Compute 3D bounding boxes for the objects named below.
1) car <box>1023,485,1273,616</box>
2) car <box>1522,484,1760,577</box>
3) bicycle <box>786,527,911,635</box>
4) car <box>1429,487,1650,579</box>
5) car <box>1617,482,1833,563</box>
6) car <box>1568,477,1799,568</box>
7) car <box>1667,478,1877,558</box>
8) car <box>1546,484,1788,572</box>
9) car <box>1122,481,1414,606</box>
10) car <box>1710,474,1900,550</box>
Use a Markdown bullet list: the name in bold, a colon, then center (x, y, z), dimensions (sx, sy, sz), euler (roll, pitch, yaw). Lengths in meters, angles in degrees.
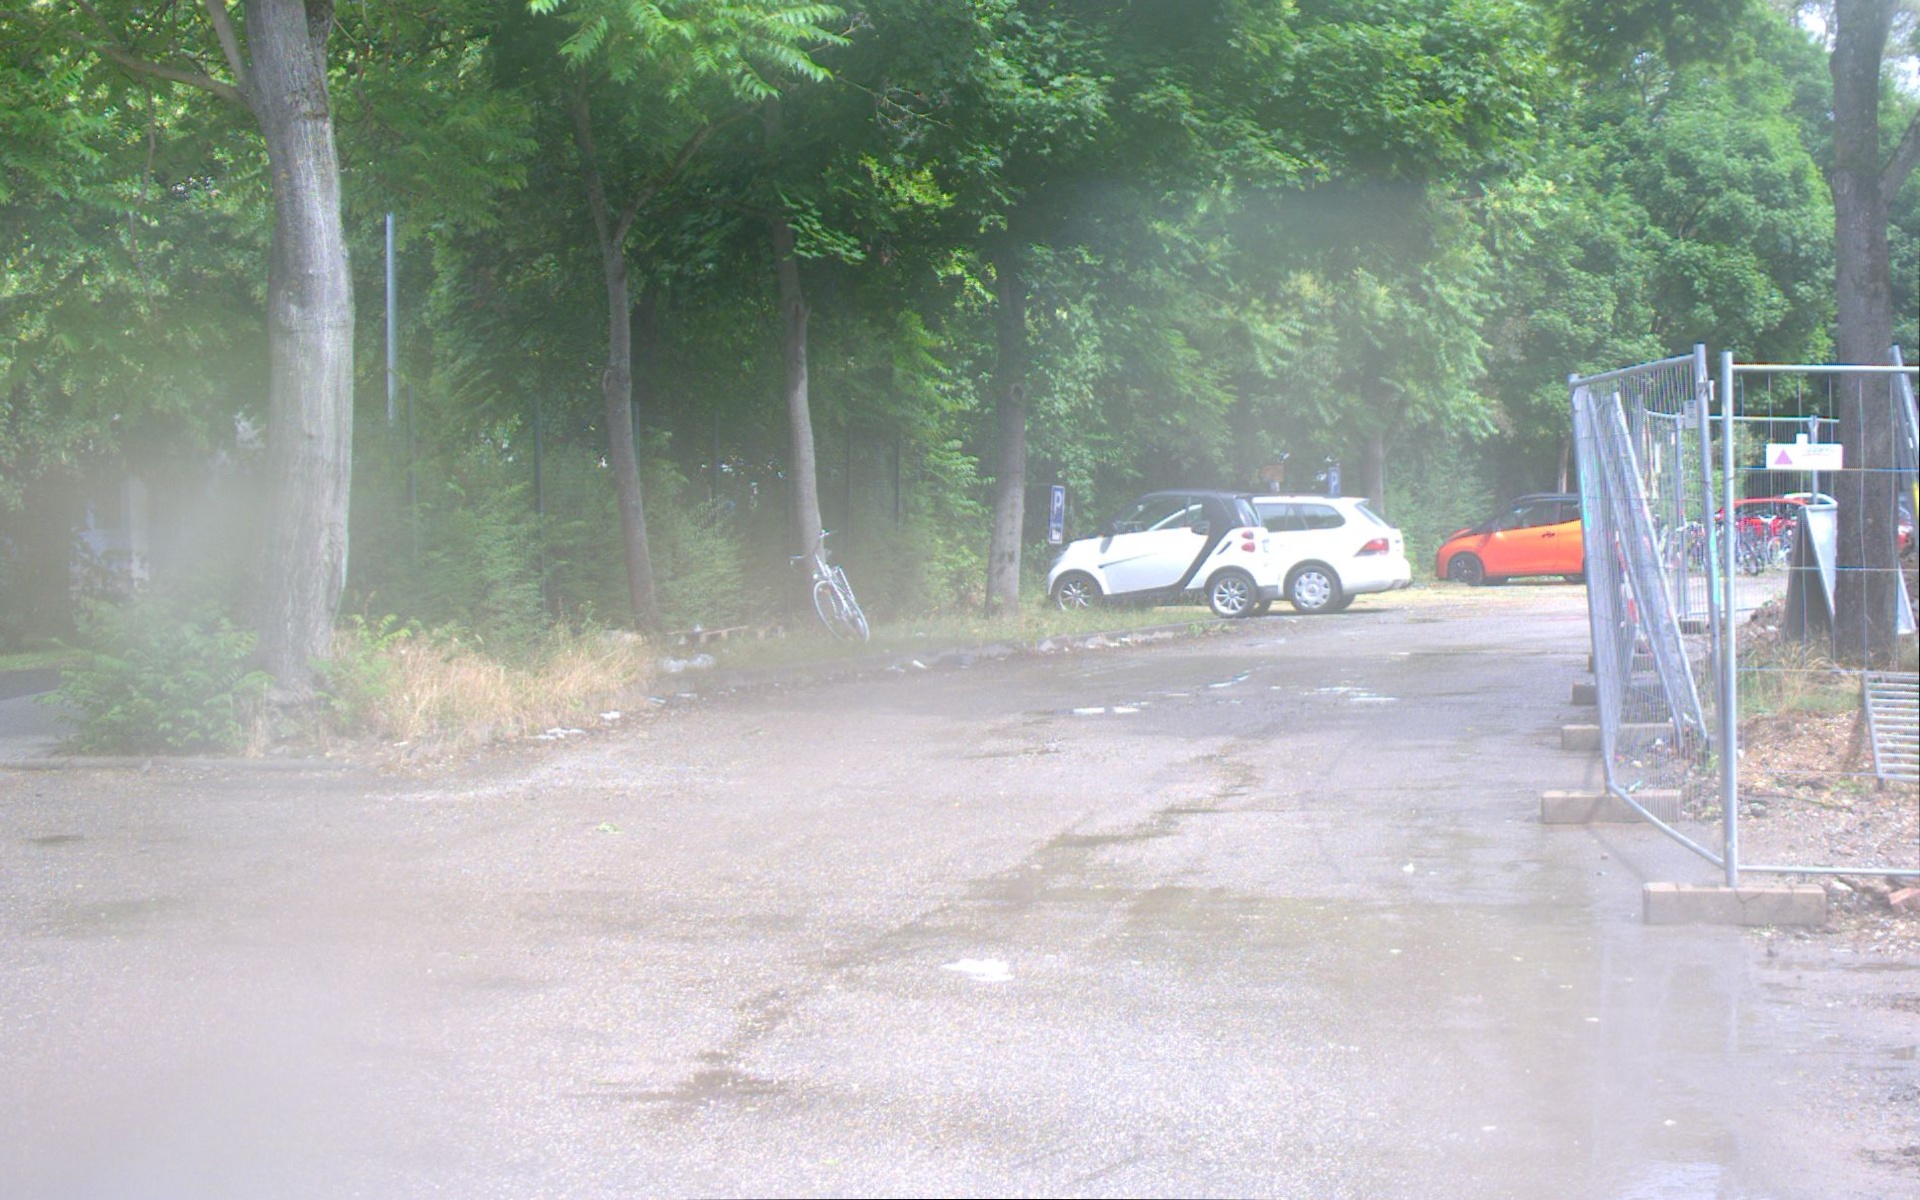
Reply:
- **car**: center (2.274, -0.606, 41.189), dimensions (2.755, 1.479, 1.592), euler (-1, 3, 12)
- **car**: center (12.105, -1.257, 61.102), dimensions (3.798, 1.523, 1.907), euler (2, 3, 25)
- **bicycle**: center (-0.951, -0.178, 29.658), dimensions (0.476, 0.857, 1.454), euler (1, 3, 25)
- **car**: center (9.627, -1.135, 57.105), dimensions (3.288, 1.420, 1.590), euler (2, 3, 27)
- **car**: center (15.098, -1.549, 67.863), dimensions (3.946, 1.511, 1.804), euler (1, 3, 20)
- **car**: center (13.839, -1.502, 65.725), dimensions (4.111, 1.644, 1.845), euler (1, 3, 19)
- **car**: center (16.800, -1.712, 71.127), dimensions (3.991, 1.554, 1.762), euler (1, 3, 22)
- **car**: center (12.973, -1.347, 63.097), dimensions (3.992, 1.491, 1.991), euler (1, 3, 24)
- **car**: center (3.889, -0.715, 43.140), dimensions (3.434, 1.463, 1.740), euler (-1, 3, 12)
- **car**: center (18.680, -1.962, 76.000), dimensions (3.861, 1.568, 1.956), euler (1, 3, 21)
